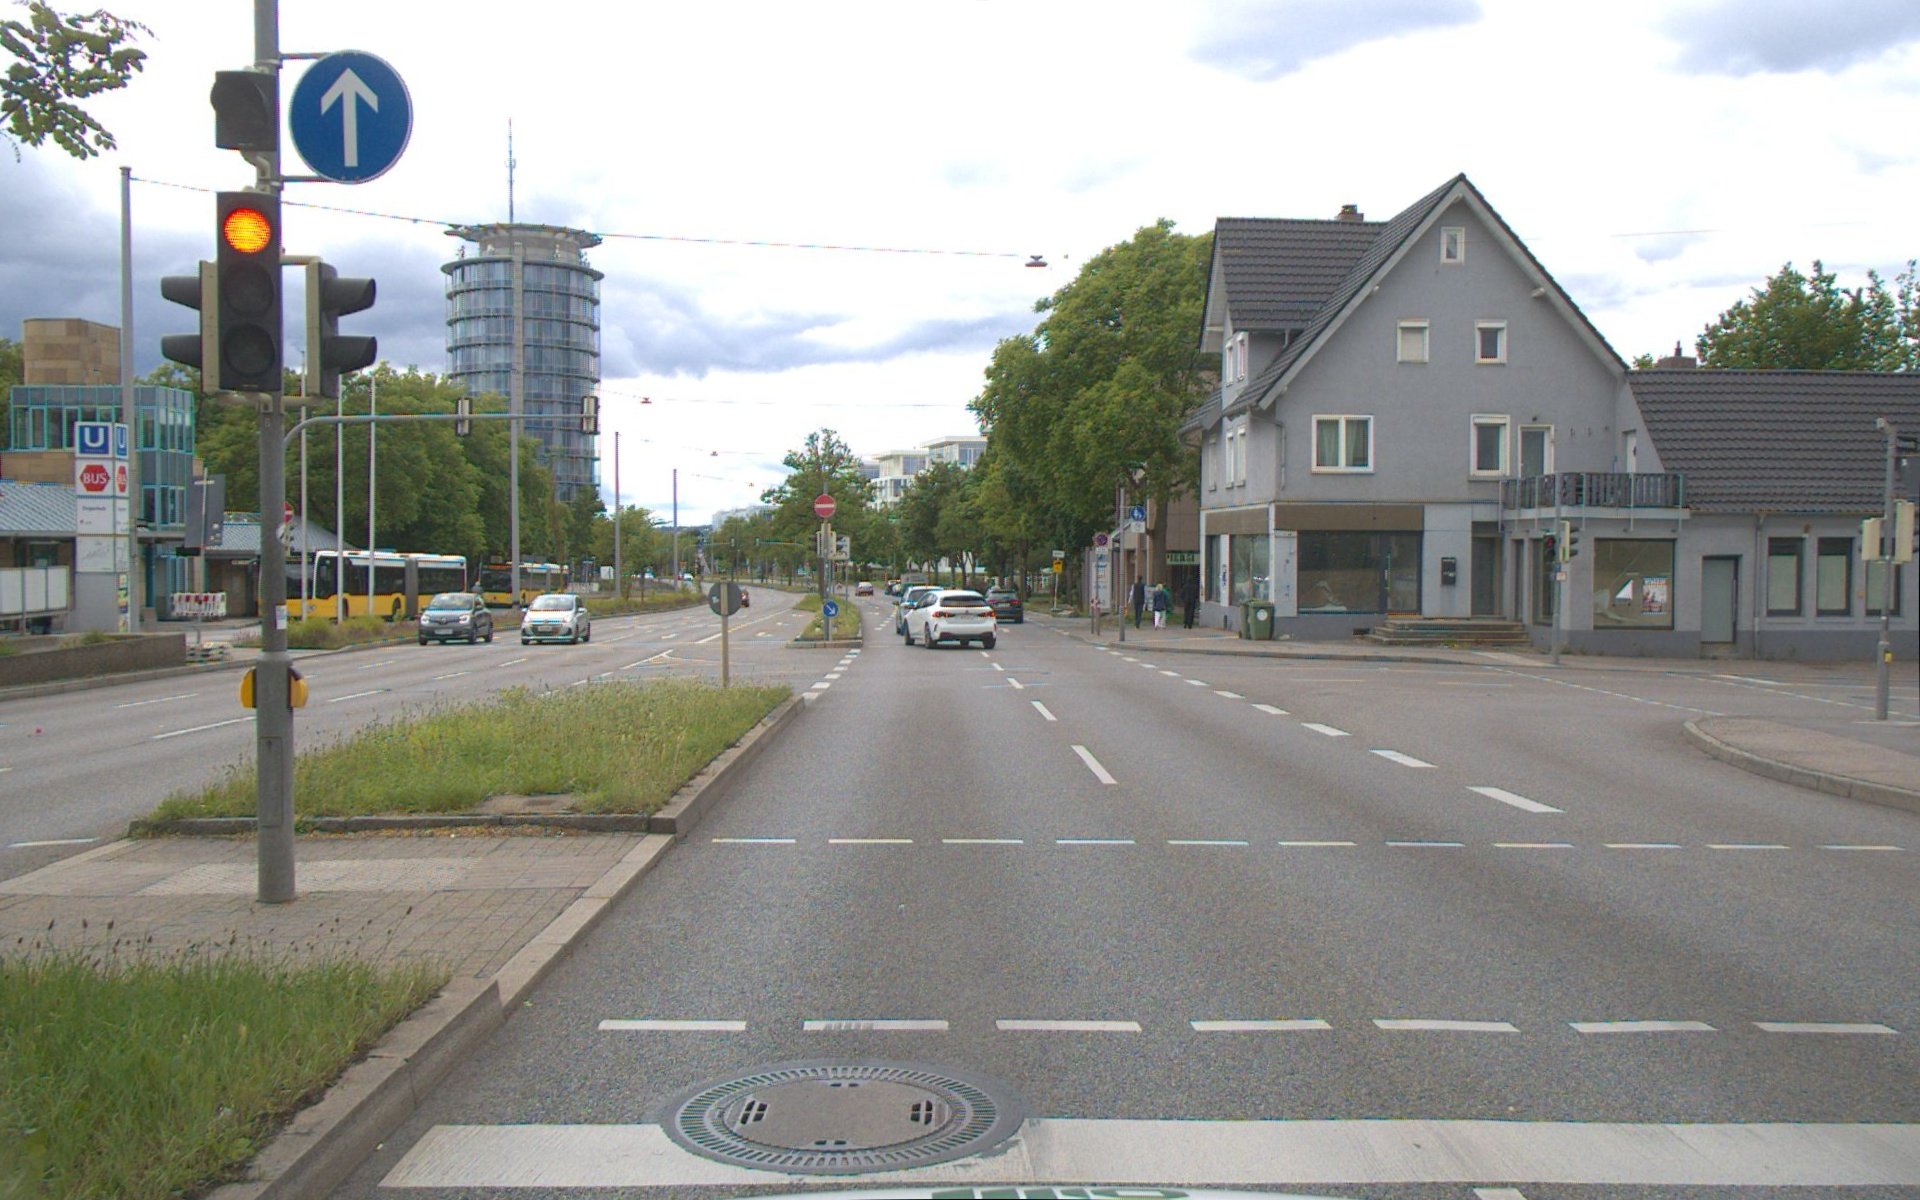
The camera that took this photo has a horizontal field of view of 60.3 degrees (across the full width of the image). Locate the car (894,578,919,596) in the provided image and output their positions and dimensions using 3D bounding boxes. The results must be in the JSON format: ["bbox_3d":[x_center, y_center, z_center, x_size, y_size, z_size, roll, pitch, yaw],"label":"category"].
[{"bbox_3d":[-5.392,-1.266,165.011,2.207,1.787,4.927,0,0,-5],"label":"car"}]

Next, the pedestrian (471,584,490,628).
[{"bbox_3d":[-21.255,0.253,73.330,0.647,1.930,0.686,0,0,0],"label":"pedestrian"}]

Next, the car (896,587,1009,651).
[{"bbox_3d":[-0.252,0.450,43.429,1.961,1.503,4.239,0,2,-15],"label":"car"}]

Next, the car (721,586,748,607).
[{"bbox_3d":[-17.107,-0.253,125.535,1.668,1.518,3.561,-1,0,-1],"label":"car"}]

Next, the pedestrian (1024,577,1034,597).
[{"bbox_3d":[5.455,-1.011,130.427,0.638,1.597,0.669,0,0,-9],"label":"pedestrian"}]

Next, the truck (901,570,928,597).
[{"bbox_3d":[-4.339,-1.557,156.434,2.207,2.459,4.927,0,0,-5],"label":"truck"}]

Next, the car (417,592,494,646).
[{"bbox_3d":[-15.468,0.561,50.823,1.652,1.606,3.344,0,0,-6],"label":"car"}]

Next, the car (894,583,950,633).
[{"bbox_3d":[-1.273,0.248,54.883,1.786,1.567,4.113,-1,0,-2],"label":"car"}]

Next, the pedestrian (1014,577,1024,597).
[{"bbox_3d":[4.666,-1.017,130.359,0.638,1.597,0.669,0,0,-9],"label":"pedestrian"}]

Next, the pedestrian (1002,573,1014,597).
[{"bbox_3d":[4.170,-1.323,144.482,0.951,2.049,0.981,1,-1,-2],"label":"pedestrian"}]

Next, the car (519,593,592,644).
[{"bbox_3d":[-12.359,0.546,50.735,1.651,1.488,3.552,0,0,-5],"label":"car"}]

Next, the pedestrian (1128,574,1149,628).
[{"bbox_3d":[6.068,0.044,56.236,0.690,1.811,0.871,-1,0,5],"label":"pedestrian"}]

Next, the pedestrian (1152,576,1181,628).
[{"bbox_3d":[7.299,0.075,58.437,0.692,1.811,0.868,-1,0,31],"label":"pedestrian"}]

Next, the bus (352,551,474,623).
[{"bbox_3d":[-26.539,-0.621,80.727,2.927,3.327,7.879,-1,0,3],"label":"bus"}]

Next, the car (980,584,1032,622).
[{"bbox_3d":[1.934,0.139,70.210,1.851,1.521,4.096,-1,0,-3],"label":"car"}]

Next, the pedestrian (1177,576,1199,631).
[{"bbox_3d":[7.588,0.108,55.112,0.690,1.791,1.053,0,0,8],"label":"pedestrian"}]

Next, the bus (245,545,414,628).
[{"bbox_3d":[-27.077,-0.567,71.703,2.927,3.307,10.174,-1,0,3],"label":"bus"}]

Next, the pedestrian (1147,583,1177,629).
[{"bbox_3d":[6.796,0.200,55.645,0.692,1.533,0.868,-1,0,30],"label":"pedestrian"}]

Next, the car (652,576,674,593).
[{"bbox_3d":[-35.896,-1.858,199.752,1.925,2.049,3.999,1,0,-1],"label":"car"}]

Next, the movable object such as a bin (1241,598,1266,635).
[{"bbox_3d":[7.972,0.448,44.960,0.518,0.997,0.736,0,0,-1],"label":"movable object such as a bin"}]

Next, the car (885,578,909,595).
[{"bbox_3d":[-6.592,-1.414,173.789,2.207,1.676,4.927,0,0,-6],"label":"car"}]

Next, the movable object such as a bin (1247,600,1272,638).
[{"bbox_3d":[8.003,0.494,44.170,0.518,0.997,0.736,0,0,-1],"label":"movable object such as a bin"}]

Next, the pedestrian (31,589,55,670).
[{"bbox_3d":[-18.350,0.583,33.100,0.414,1.619,0.353,0,0,-30],"label":"pedestrian"}]

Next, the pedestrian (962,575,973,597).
[{"bbox_3d":[0.790,-1.462,172.498,0.914,2.349,1.008,1,-1,-10],"label":"pedestrian"}]

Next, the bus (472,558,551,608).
[{"bbox_3d":[-30.777,-1.131,114.021,3.082,3.281,10.279,0,0,-3],"label":"bus"}]

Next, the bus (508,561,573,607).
[{"bbox_3d":[-31.139,-1.148,123.020,3.081,3.281,7.762,0,0,-2],"label":"bus"}]

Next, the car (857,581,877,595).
[{"bbox_3d":[-9.710,-1.284,173.032,1.929,1.444,4.017,0,0,-6],"label":"car"}]
